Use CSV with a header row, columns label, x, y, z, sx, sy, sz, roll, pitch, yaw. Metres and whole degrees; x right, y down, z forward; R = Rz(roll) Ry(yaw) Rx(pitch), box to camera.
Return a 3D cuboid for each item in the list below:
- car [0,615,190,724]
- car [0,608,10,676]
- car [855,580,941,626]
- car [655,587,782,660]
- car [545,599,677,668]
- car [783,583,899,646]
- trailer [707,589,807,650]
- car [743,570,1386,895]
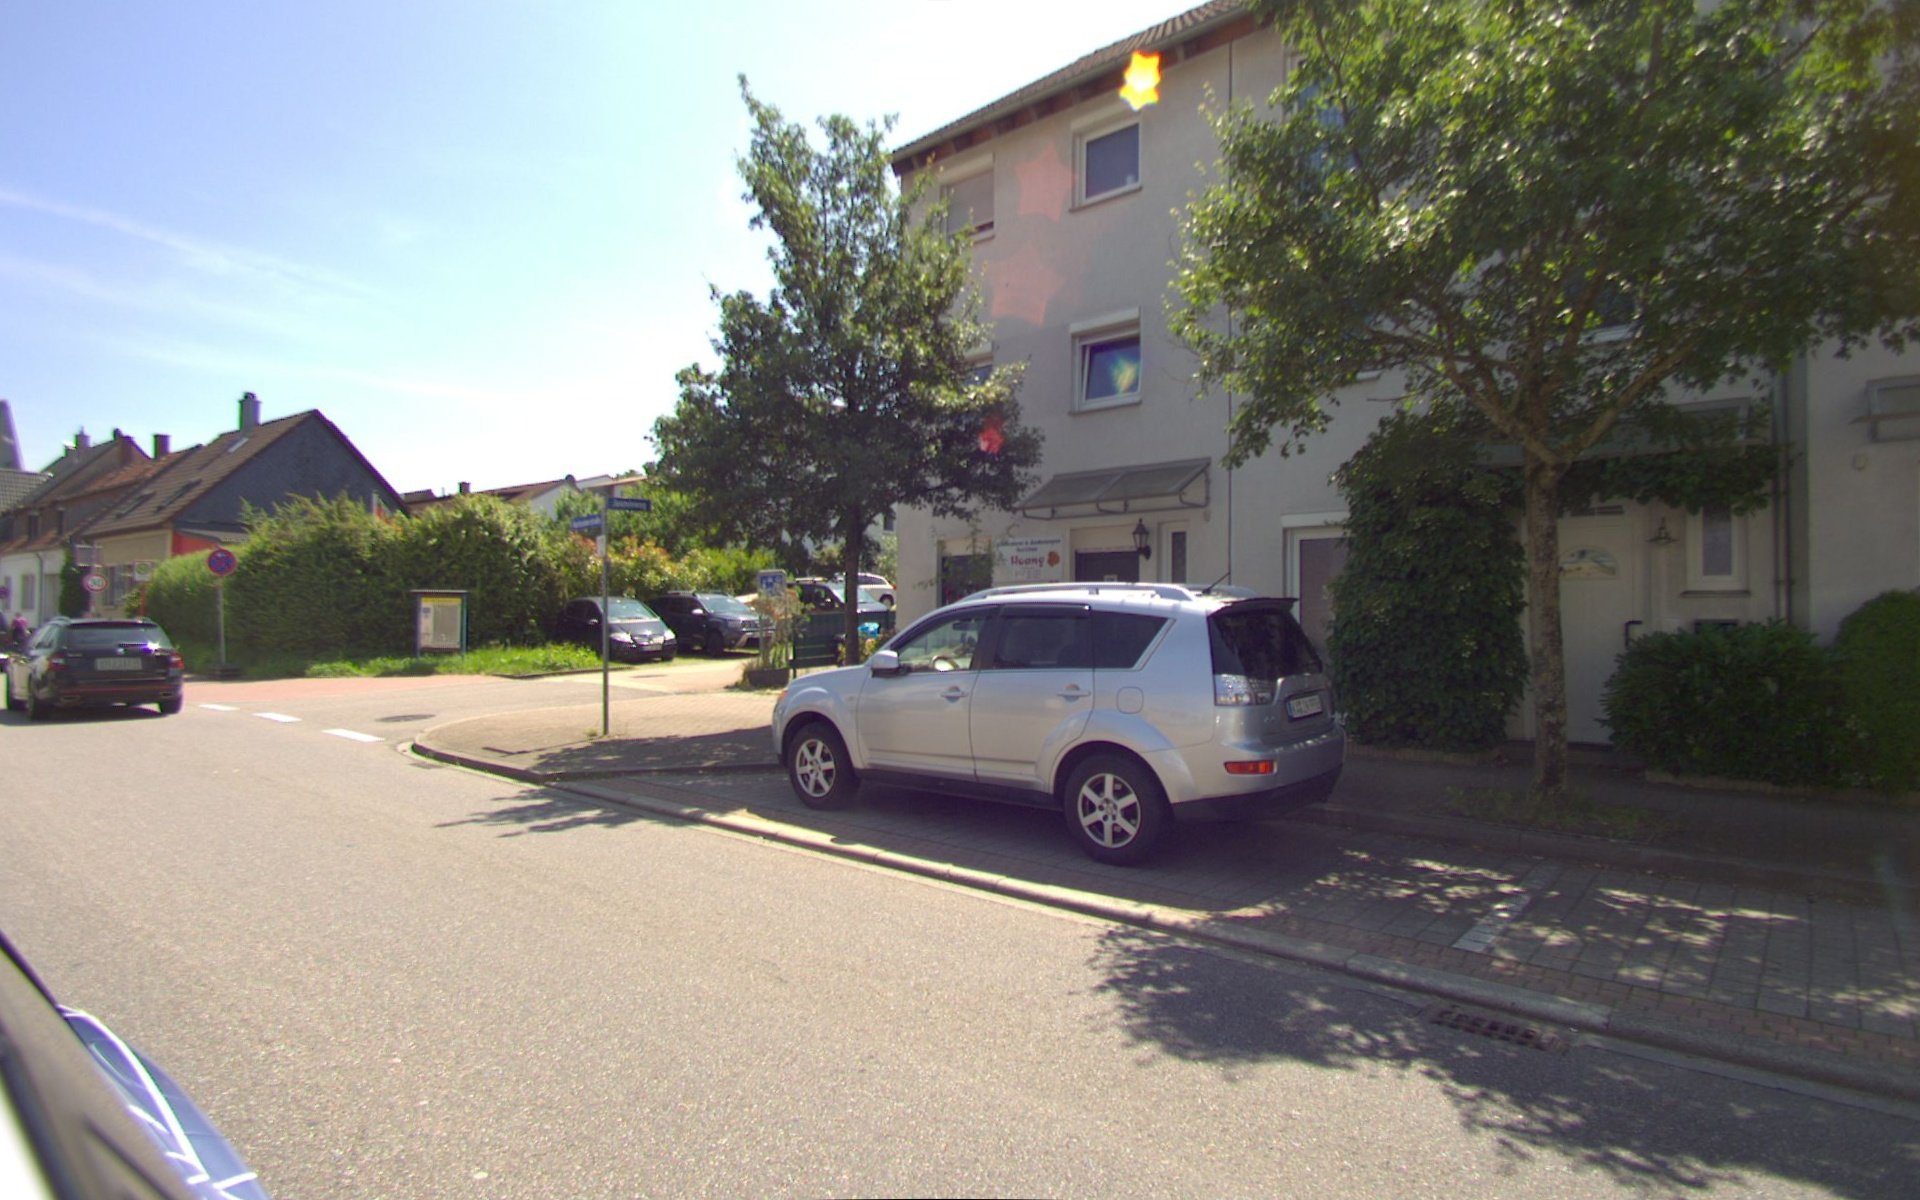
label,x,y,z,sx,sy,sz,roll,pitch,yaw
car,-13.438,0.987,15.580,4.253,1.458,1.701,-1,-2,41
car,-28.436,1.150,28.720,4.461,1.869,1.638,-1,-3,41
car,-2.441,0.093,40.460,1.419,1.747,3.595,0,1,38
car,-6.481,0.592,26.995,3.511,1.793,1.605,-1,1,44
car,-8.807,0.792,25.399,3.653,1.552,1.605,-1,1,44
car,-3.681,0.428,31.015,3.552,1.794,1.605,-1,1,44
trailer,-5.993,0.565,29.844,2.687,1.676,1.413,-1,2,37
car,0.505,0.725,7.411,4.522,1.699,1.689,-1,-1,40
